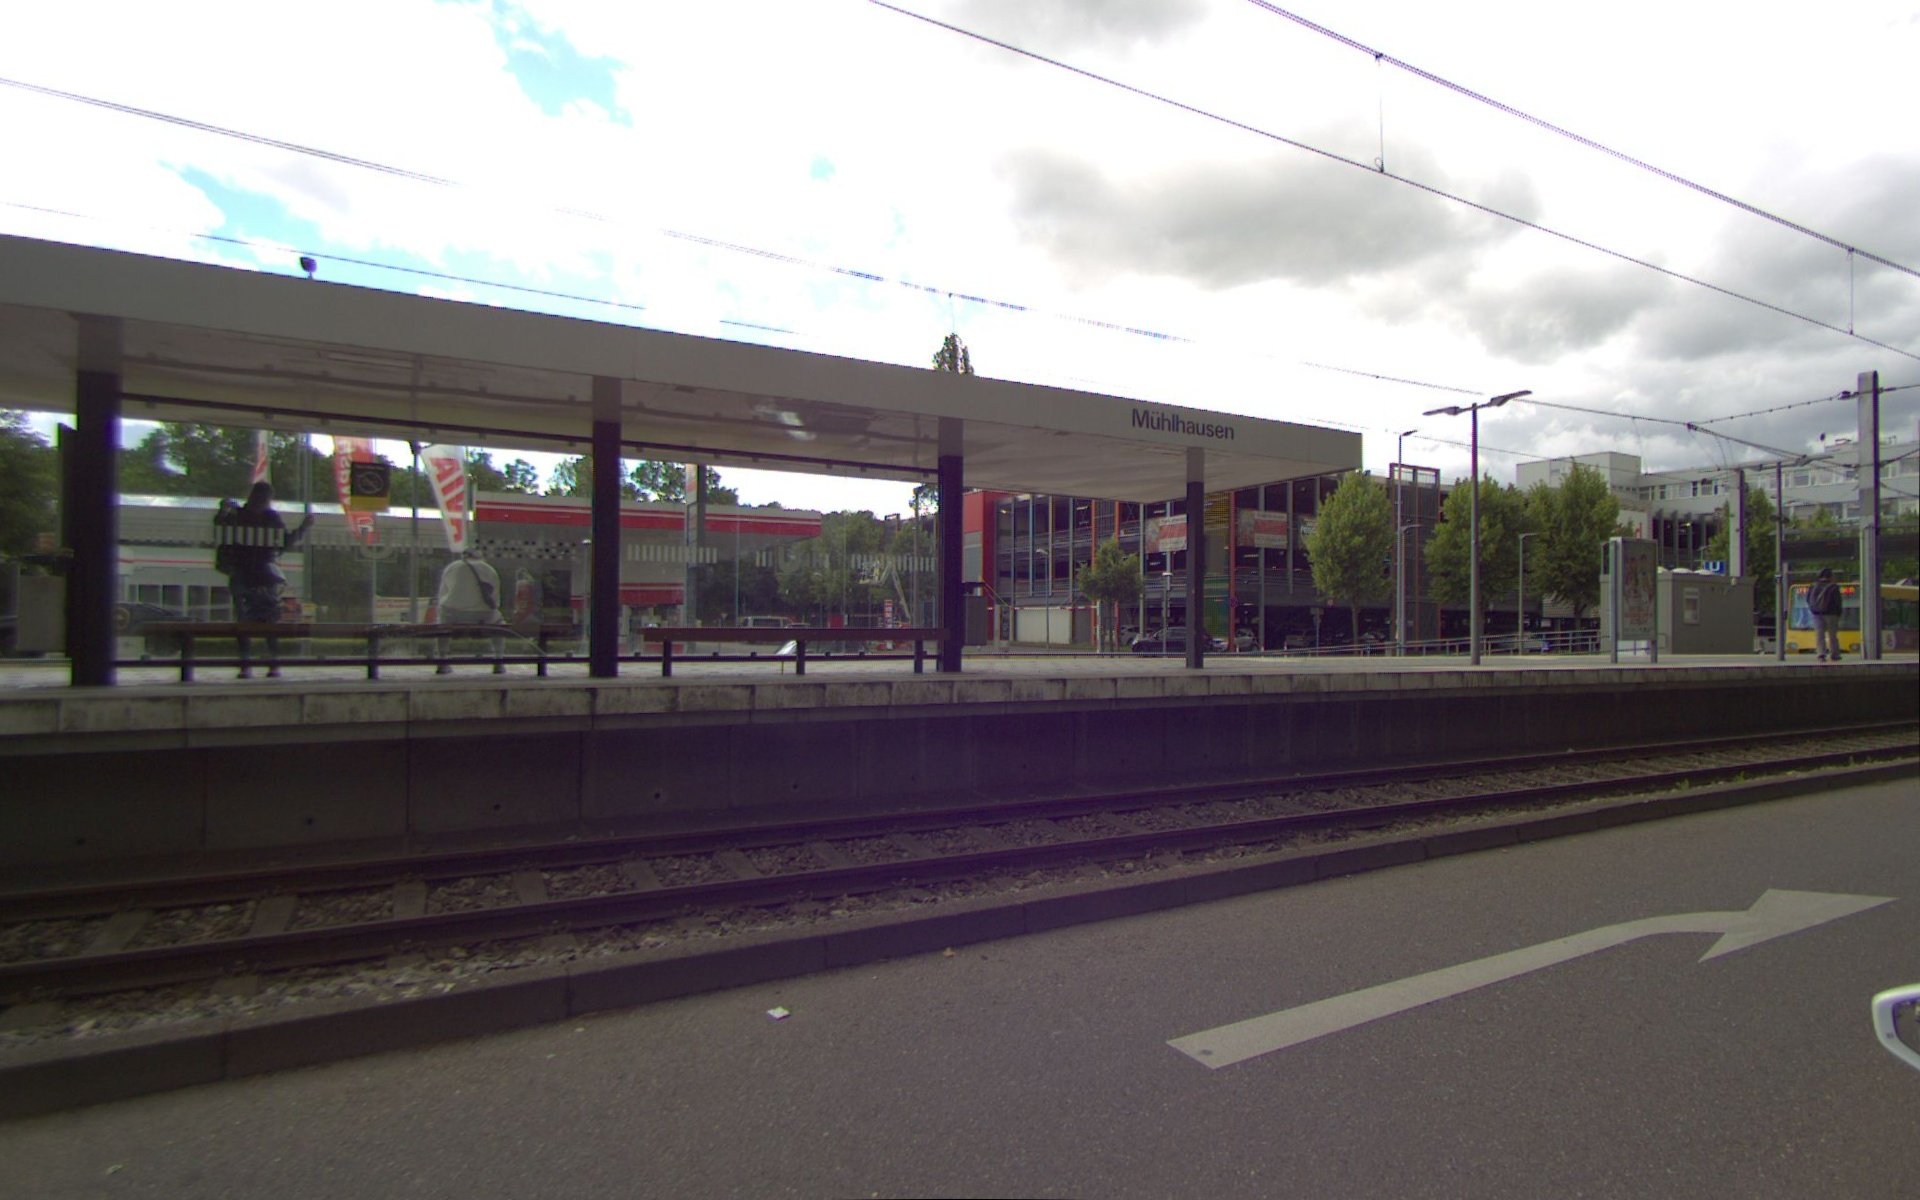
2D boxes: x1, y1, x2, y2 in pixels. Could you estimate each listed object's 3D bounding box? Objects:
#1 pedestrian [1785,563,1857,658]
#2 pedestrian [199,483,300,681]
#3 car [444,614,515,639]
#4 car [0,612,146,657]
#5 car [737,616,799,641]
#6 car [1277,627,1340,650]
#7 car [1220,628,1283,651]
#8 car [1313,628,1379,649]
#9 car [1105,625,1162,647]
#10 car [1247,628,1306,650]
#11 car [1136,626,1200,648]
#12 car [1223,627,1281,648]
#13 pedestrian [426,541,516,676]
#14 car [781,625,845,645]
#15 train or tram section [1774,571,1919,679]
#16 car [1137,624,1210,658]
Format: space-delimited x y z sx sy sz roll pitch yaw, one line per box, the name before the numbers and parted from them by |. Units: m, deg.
pedestrian | 16.431 0.226 19.169 0.926 1.767 0.745 1 -3 -31
pedestrian | -6.117 -0.135 8.676 0.564 1.641 0.583 1 -3 -24
car | -35.547 1.968 74.364 4.405 1.728 1.895 2 -3 -39
car | -27.943 1.070 31.389 3.591 1.368 1.606 1 -1 -29
car | -13.924 2.094 72.932 4.014 1.775 1.900 2 -3 -32
car | 23.660 2.627 68.207 3.953 1.492 1.985 2 -3 -30
car | 16.935 2.309 58.403 3.500 1.327 1.528 2 -3 -30
car | 25.235 2.530 65.602 3.953 1.327 1.985 2 -3 -30
car | 11.518 2.400 66.622 3.518 1.434 1.708 1 -2 -30
car | 22.104 2.708 70.155 3.954 1.476 1.814 2 -2 -31
car | 13.281 2.381 64.182 3.755 1.327 1.842 2 -3 -30
car | 21.036 2.683 72.309 3.954 1.476 1.814 2 -2 -31
pedestrian | -4.614 0.092 9.496 0.719 1.205 0.767 1 -2 -26
car | -10.143 2.415 69.397 4.013 1.383 1.899 1 -2 -32
train or tram section | 40.239 1.133 42.204 18.404 3.933 2.745 1 -2 -29
car | 11.375 2.178 53.593 3.735 1.728 1.647 0 -1 10
